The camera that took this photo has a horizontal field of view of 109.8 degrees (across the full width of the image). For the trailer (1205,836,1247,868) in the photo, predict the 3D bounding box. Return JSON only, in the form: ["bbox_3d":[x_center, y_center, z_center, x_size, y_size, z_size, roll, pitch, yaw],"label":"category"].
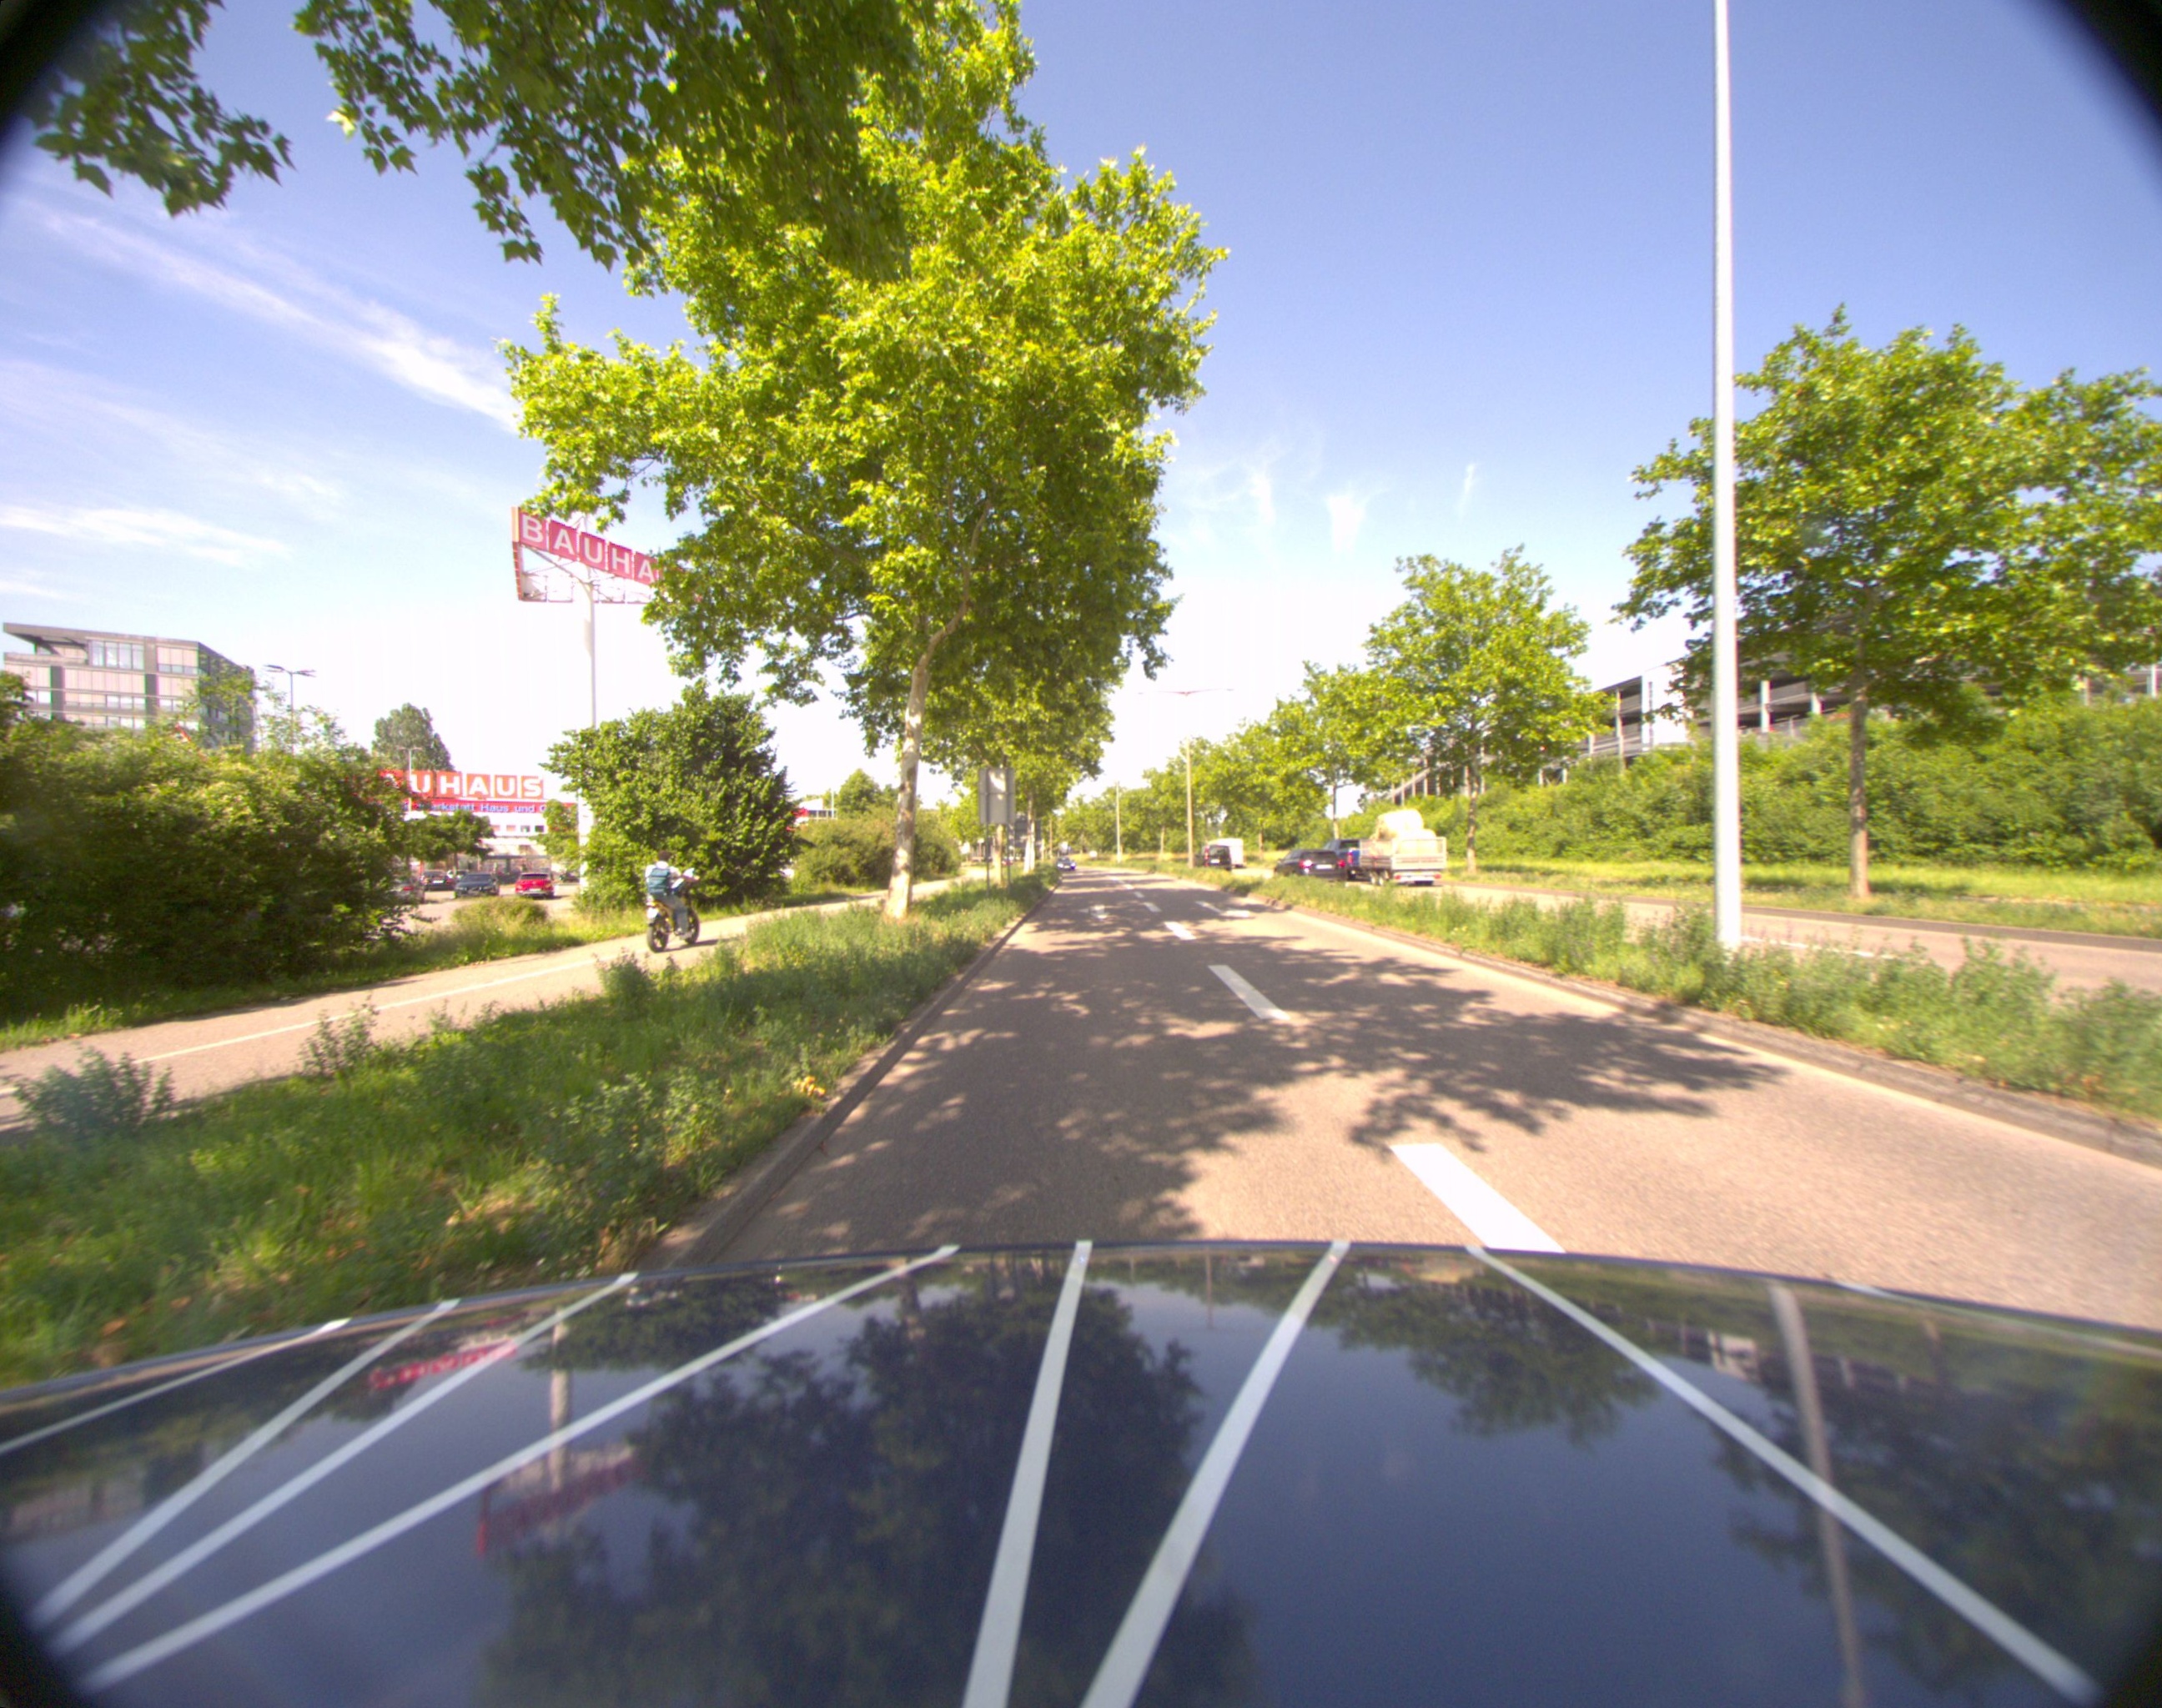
[{"bbox_3d":[11.056,-0.192,58.338,2.314,2.252,5.538,-1,1,2],"label":"trailer"}]

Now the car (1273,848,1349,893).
[{"bbox_3d":[8.363,0.540,27.962,1.607,1.463,3.789,-2,1,0],"label":"car"}]

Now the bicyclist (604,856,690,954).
[{"bbox_3d":[-6.869,0.778,12.088,0.706,1.469,1.009,-2,1,2],"label":"bicyclist"}]

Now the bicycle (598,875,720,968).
[{"bbox_3d":[-6.831,1.040,12.450,0.724,1.291,2.095,-2,1,2],"label":"bicycle"}]

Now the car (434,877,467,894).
[{"bbox_3d":[-44.933,2.244,54.157,1.521,1.054,3.179,-3,1,-35],"label":"car"}]

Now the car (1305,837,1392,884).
[{"bbox_3d":[11.369,0.213,32.680,1.769,1.779,5.374,-3,1,0],"label":"car"}]

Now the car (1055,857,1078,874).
[{"bbox_3d":[-1.426,1.077,74.191,1.722,1.575,3.751,-2,1,-8],"label":"car"}]

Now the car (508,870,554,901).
[{"bbox_3d":[-31.017,1.733,42.908,2.003,1.499,3.989,-2,1,-35],"label":"car"}]

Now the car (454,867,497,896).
[{"bbox_3d":[-36.397,1.613,45.764,1.632,1.618,4.746,0,-1,-33],"label":"car"}]

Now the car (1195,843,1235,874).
[{"bbox_3d":[8.478,0.250,48.272,1.735,1.799,4.231,-3,1,0],"label":"car"}]

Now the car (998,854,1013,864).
[{"bbox_3d":[-11.976,0.759,119.974,1.651,1.592,3.598,-2,1,-18],"label":"car"}]

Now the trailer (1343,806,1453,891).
[{"bbox_3d":[11.374,-0.222,27.659,1.885,2.728,4.827,-3,1,0],"label":"trailer"}]
